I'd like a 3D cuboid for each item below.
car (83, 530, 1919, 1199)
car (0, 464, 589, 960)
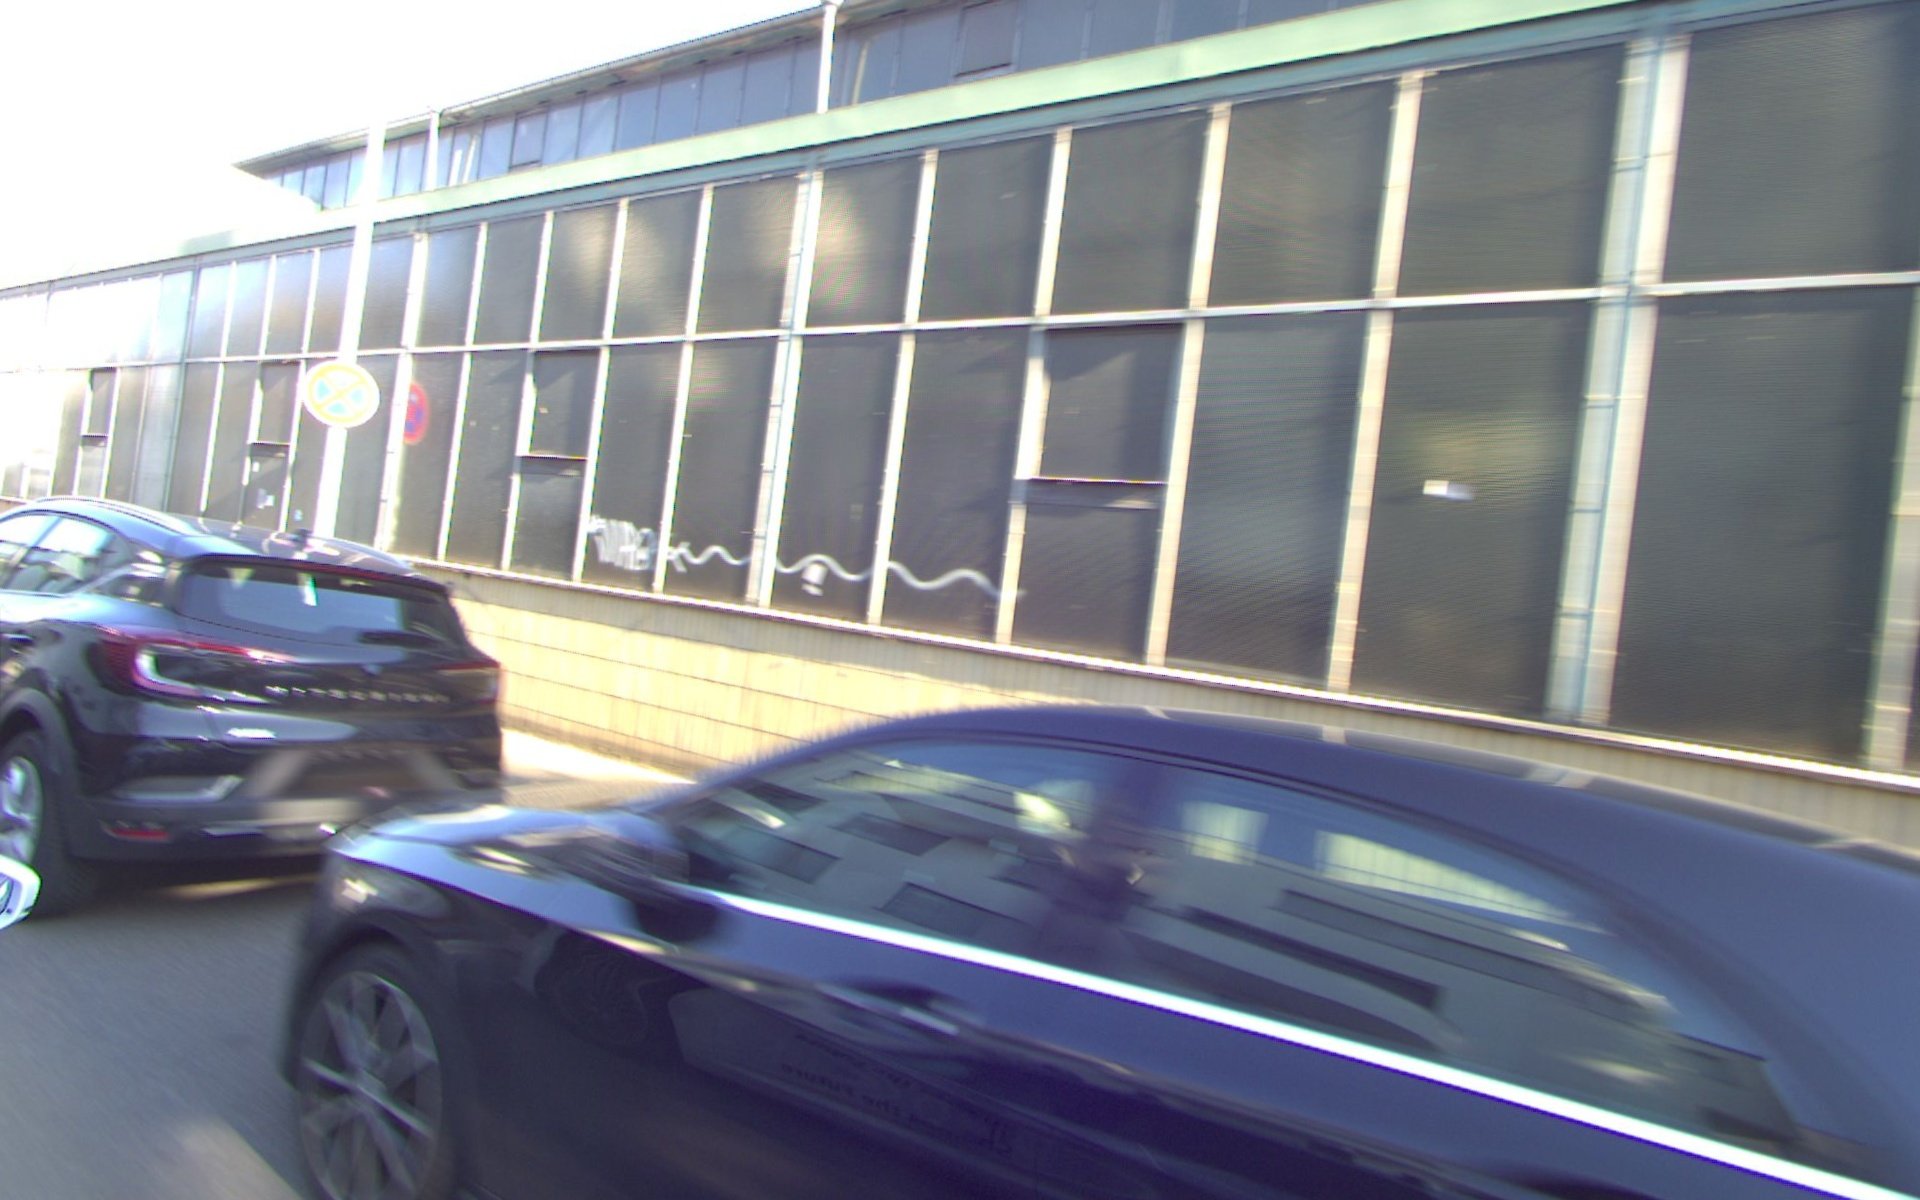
[{"bbox_3d":[-0.089,0.863,2.472,4.546,1.507,1.755,6,-4,32],"label":"car"},{"bbox_3d":[-4.214,0.293,5.199,4.331,1.604,1.813,6,-4,31],"label":"car"}]
